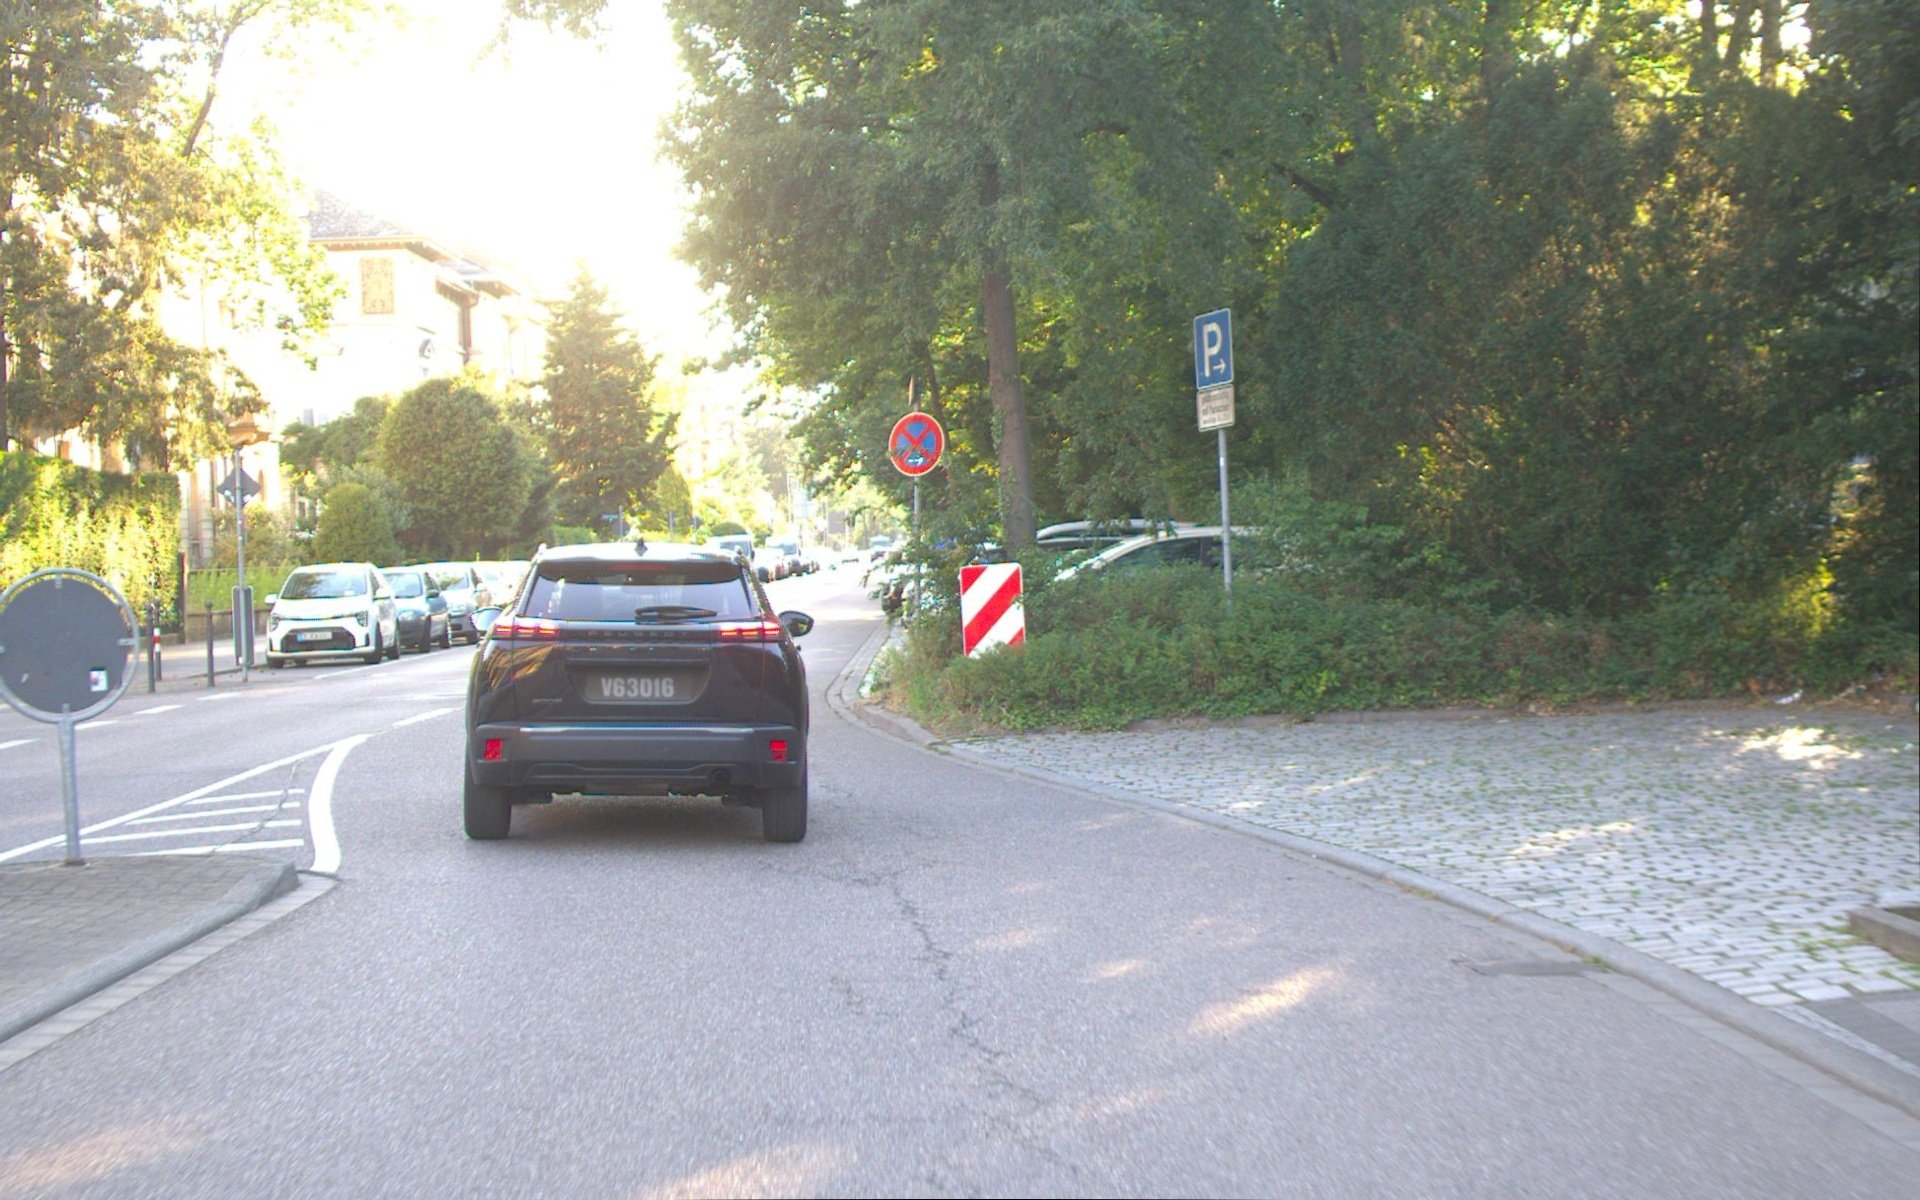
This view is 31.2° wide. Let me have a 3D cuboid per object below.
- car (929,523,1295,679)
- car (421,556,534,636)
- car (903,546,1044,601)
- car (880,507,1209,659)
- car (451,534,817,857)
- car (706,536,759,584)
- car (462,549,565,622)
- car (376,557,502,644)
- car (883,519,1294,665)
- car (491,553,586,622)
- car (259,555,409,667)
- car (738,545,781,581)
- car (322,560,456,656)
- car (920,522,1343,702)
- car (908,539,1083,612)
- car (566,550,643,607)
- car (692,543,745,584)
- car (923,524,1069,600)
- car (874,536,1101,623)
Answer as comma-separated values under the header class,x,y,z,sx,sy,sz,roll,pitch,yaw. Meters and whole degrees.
class,x,y,z,sx,sy,sz,roll,pitch,yaw
car,1.668,-0.011,38.721,3.987,1.549,1.752,-2,2,0
car,-9.436,-0.102,67.477,1.613,1.461,4.036,-2,1,0
car,0.391,-0.777,101.340,3.986,1.520,1.758,-1,1,-5
car,1.106,-0.236,46.816,4.306,1.798,2.036,-3,1,-1
car,-1.846,0.439,19.003,1.771,1.563,4.110,1,1,-7
car,-9.896,-1.748,149.915,1.993,2.007,4.000,-1,1,1
car,-9.444,-0.325,72.973,1.613,1.461,4.036,-2,1,0
car,-9.310,-0.015,61.703,1.613,1.461,4.036,-2,1,0
car,1.515,-0.129,40.875,4.483,1.549,1.857,-2,2,-17
car,-9.489,-0.308,77.671,1.613,1.461,4.036,-2,1,0
car,-9.308,0.136,51.331,1.613,1.510,3.712,-3,1,-2
car,-10.358,-1.934,177.568,1.993,1.809,4.000,-1,1,-1
car,-9.441,0.106,57.086,1.613,1.480,3.742,-2,1,-1
car,1.628,0.093,33.621,3.987,1.549,1.726,-2,2,0
car,0.790,-0.569,79.003,3.807,1.444,1.826,-3,1,-4
car,-9.691,-0.610,93.958,1.752,1.409,3.765,-4,1,-2
car,-9.765,-1.484,139.499,1.899,1.568,4.000,-1,1,-1
car,1.031,-1.086,98.571,3.986,2.082,1.758,-1,1,-5
car,0.502,-0.401,66.754,4.242,1.444,2.022,-3,1,-2
